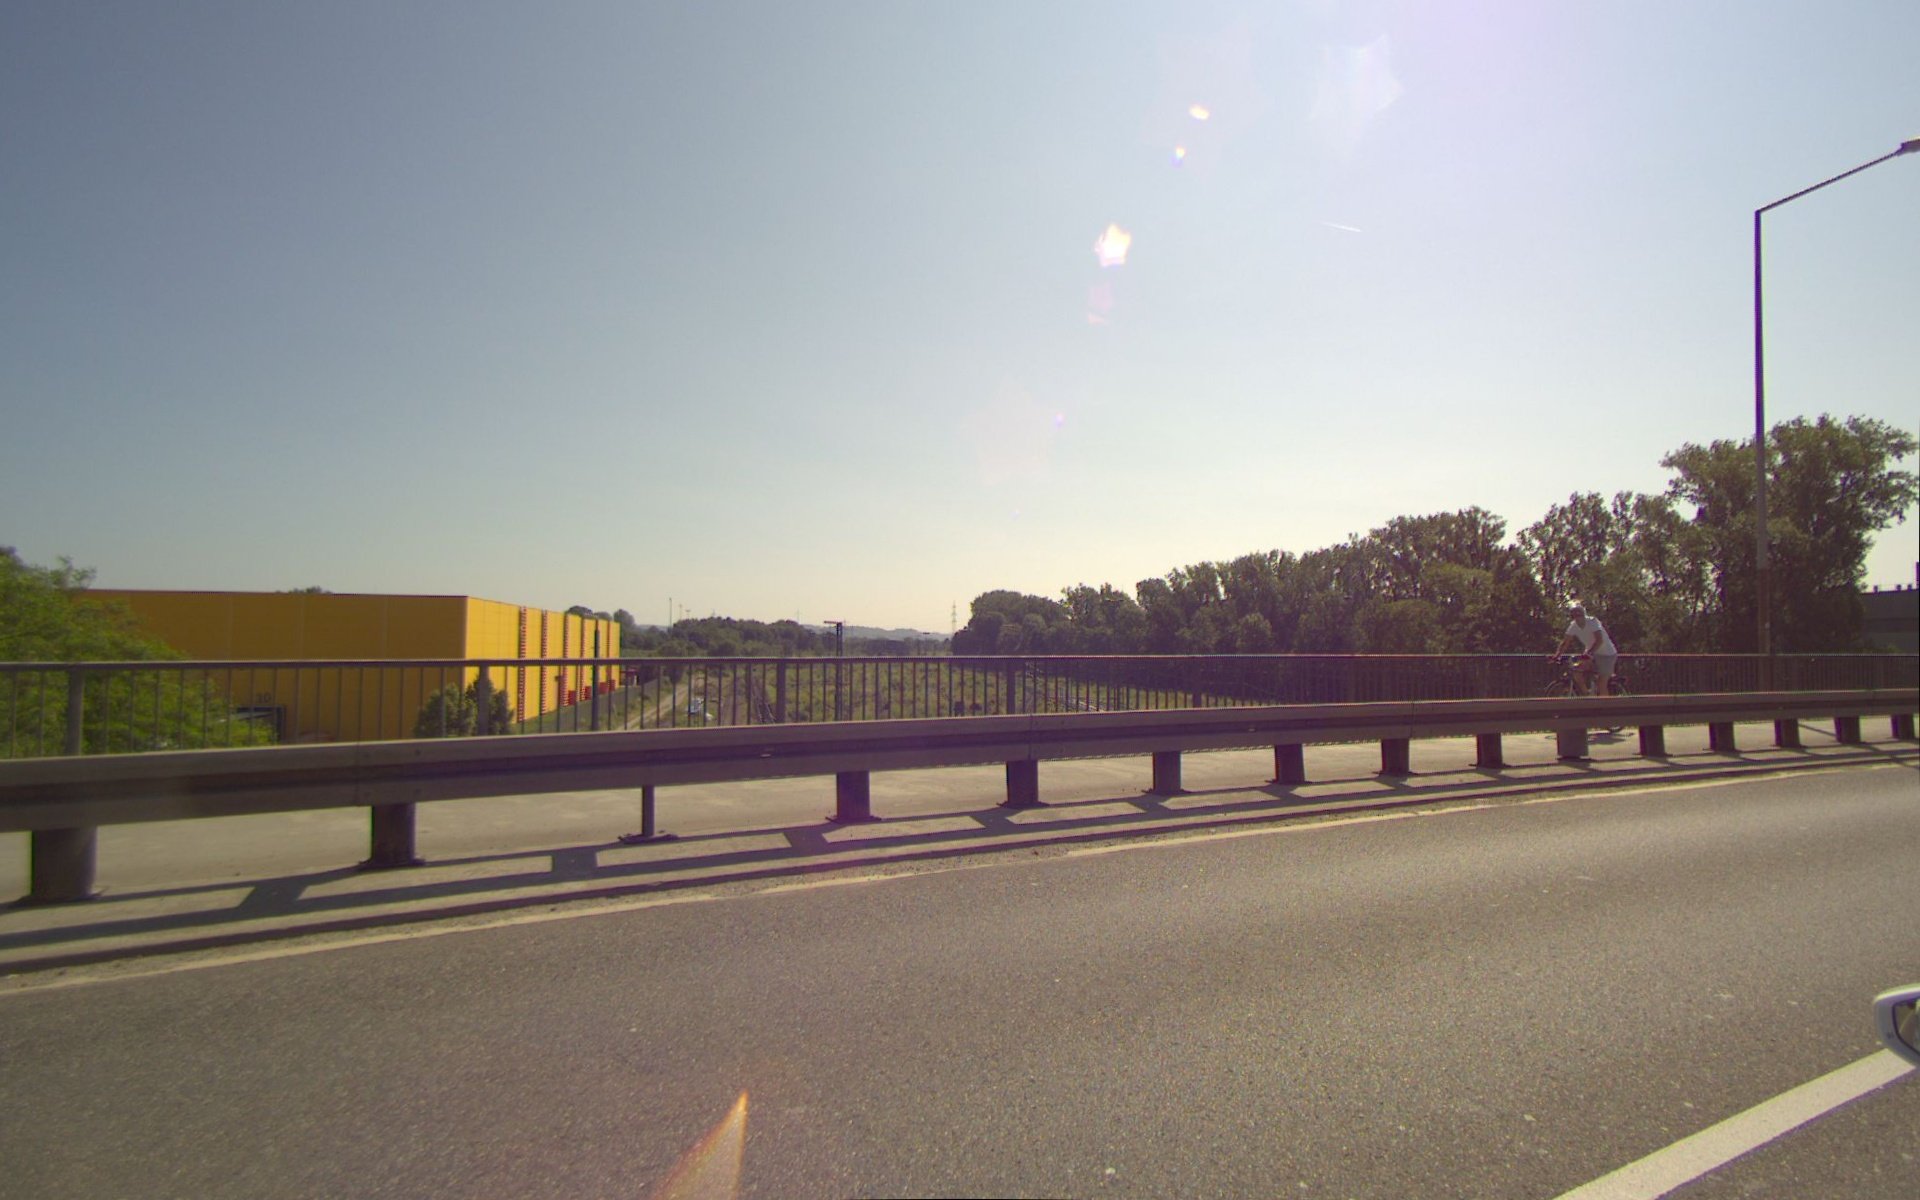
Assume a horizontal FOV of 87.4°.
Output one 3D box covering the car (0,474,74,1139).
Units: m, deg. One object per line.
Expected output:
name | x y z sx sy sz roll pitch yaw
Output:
car | -4.138 0.473 1.099 4.422 1.704 1.848 2 0 -31

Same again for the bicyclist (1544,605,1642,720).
bicyclist | 8.390 0.826 13.317 1.064 1.457 0.606 2 -3 -26

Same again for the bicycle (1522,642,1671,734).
bicycle | 8.451 1.159 13.325 2.120 1.149 0.610 2 -4 -25
